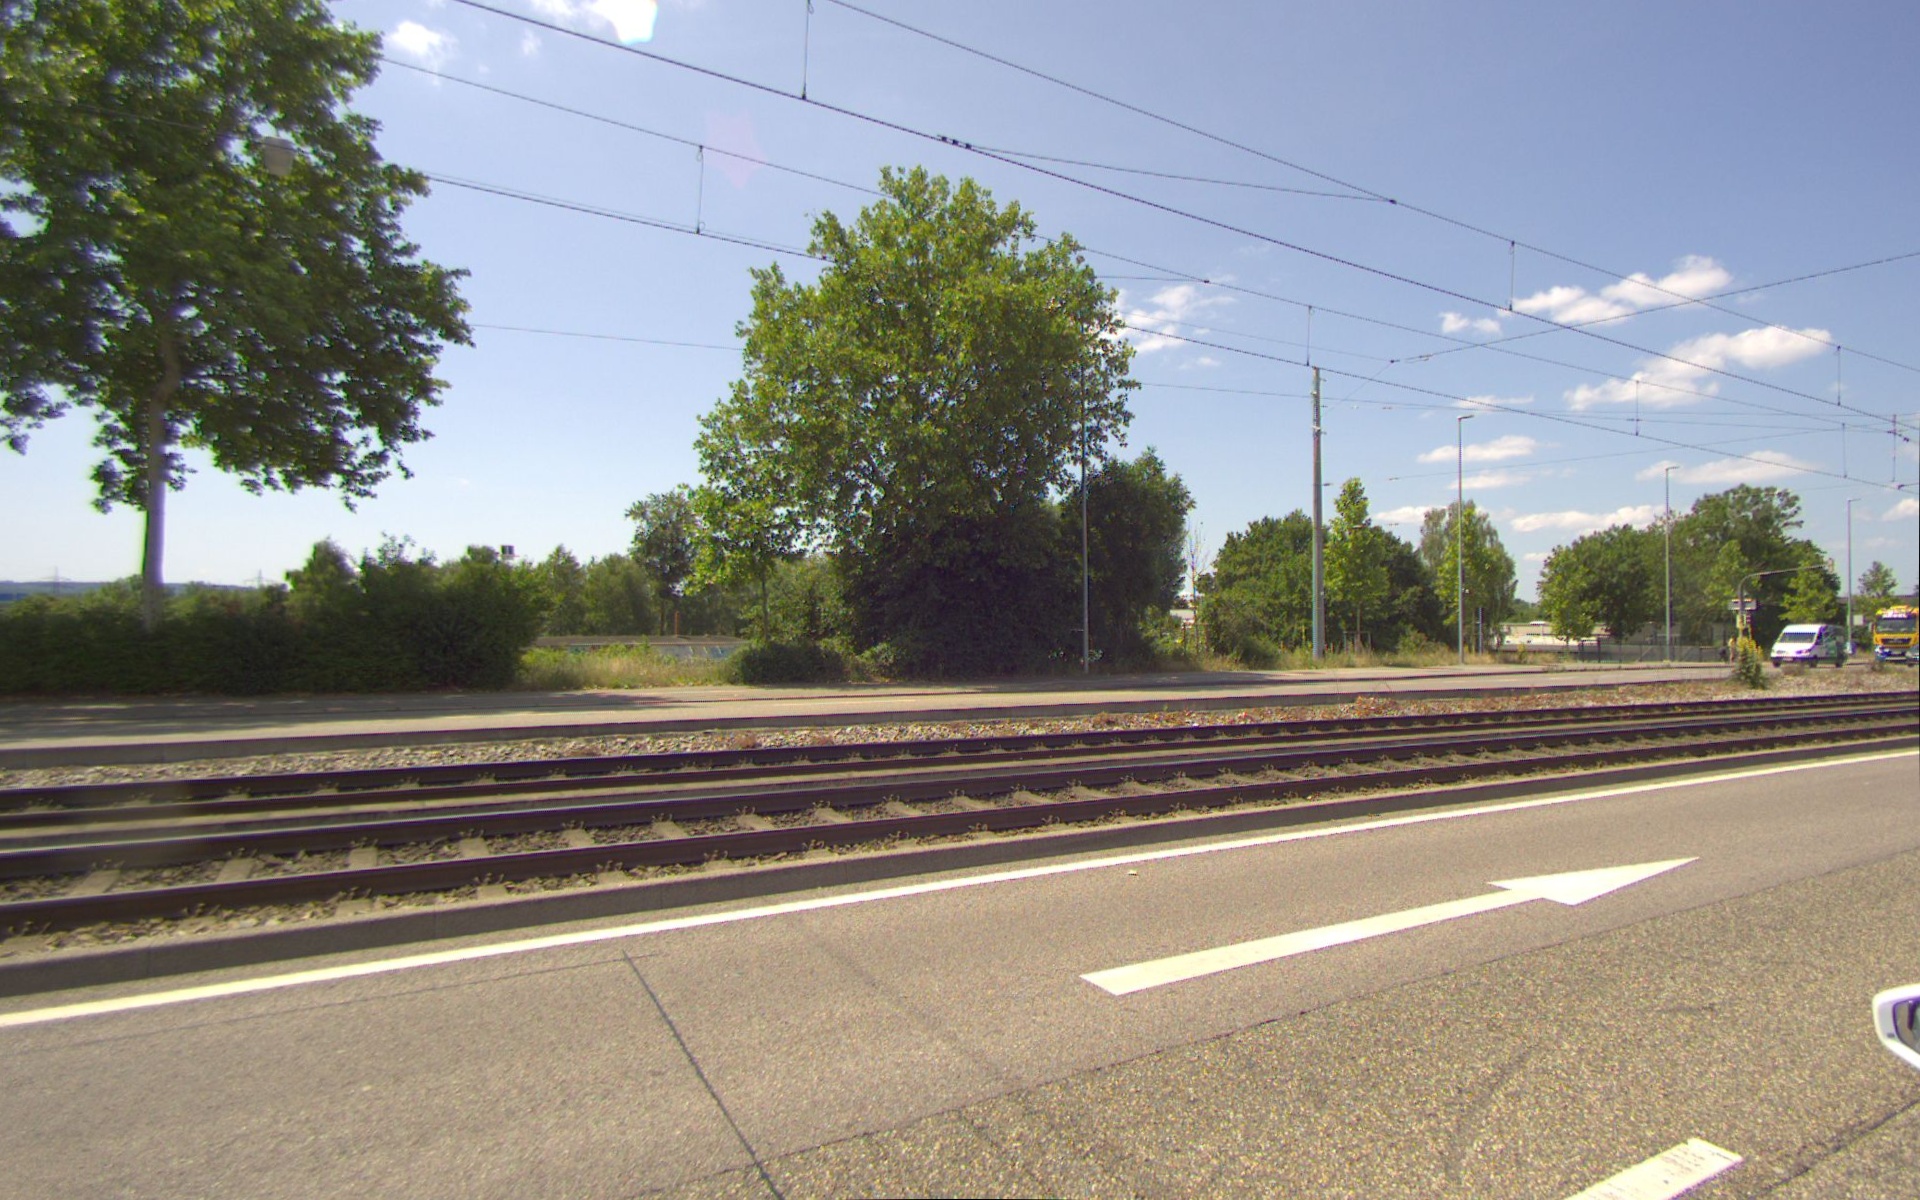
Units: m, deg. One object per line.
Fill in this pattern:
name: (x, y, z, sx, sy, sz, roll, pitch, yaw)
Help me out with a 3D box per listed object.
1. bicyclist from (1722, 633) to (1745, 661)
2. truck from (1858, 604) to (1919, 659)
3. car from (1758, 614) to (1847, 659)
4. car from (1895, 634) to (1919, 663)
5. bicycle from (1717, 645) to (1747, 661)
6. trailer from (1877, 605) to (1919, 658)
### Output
bicyclist: (50.380, 3.046, 65.445, 0.337, 1.798, 1.112, 1, 0, -34)
truck: (65.254, 2.196, 69.538, 6.365, 3.616, 2.754, 2, 0, -30)
car: (51.160, 2.228, 60.955, 6.163, 2.622, 2.232, 1, -3, -31)
car: (59.458, 2.993, 61.648, 4.408, 1.692, 1.813, 1, 0, -30)
bicycle: (50.386, 3.453, 65.549, 0.481, 1.000, 1.482, 1, 0, -33)
trailer: (72.018, 2.355, 73.549, 15.693, 3.565, 2.753, 2, -1, -31)
